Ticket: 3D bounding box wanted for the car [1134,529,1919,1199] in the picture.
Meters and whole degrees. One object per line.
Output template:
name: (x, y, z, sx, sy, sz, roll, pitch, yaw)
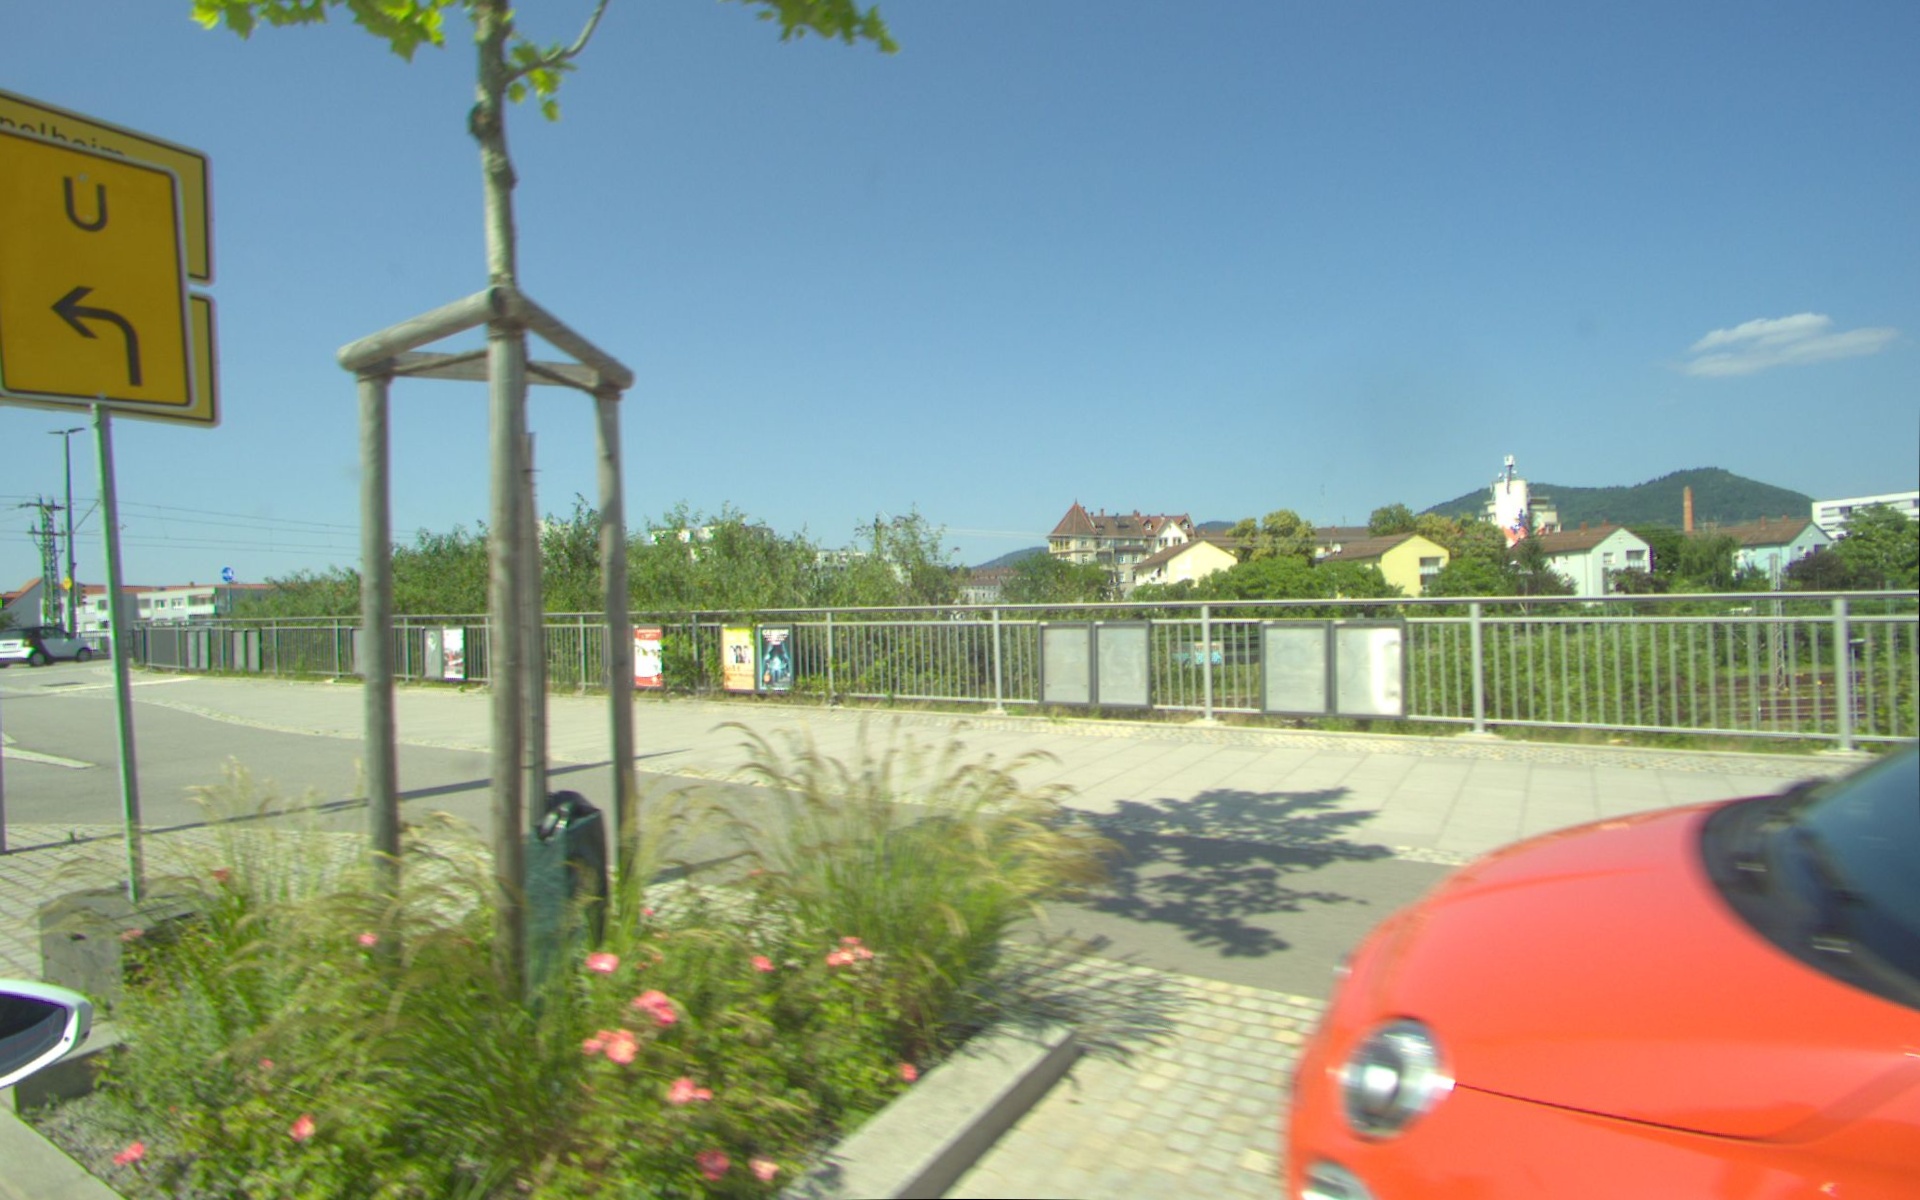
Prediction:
car: (2.077, 0.653, 1.205, 3.307, 1.517, 1.605, -1, 1, 34)
